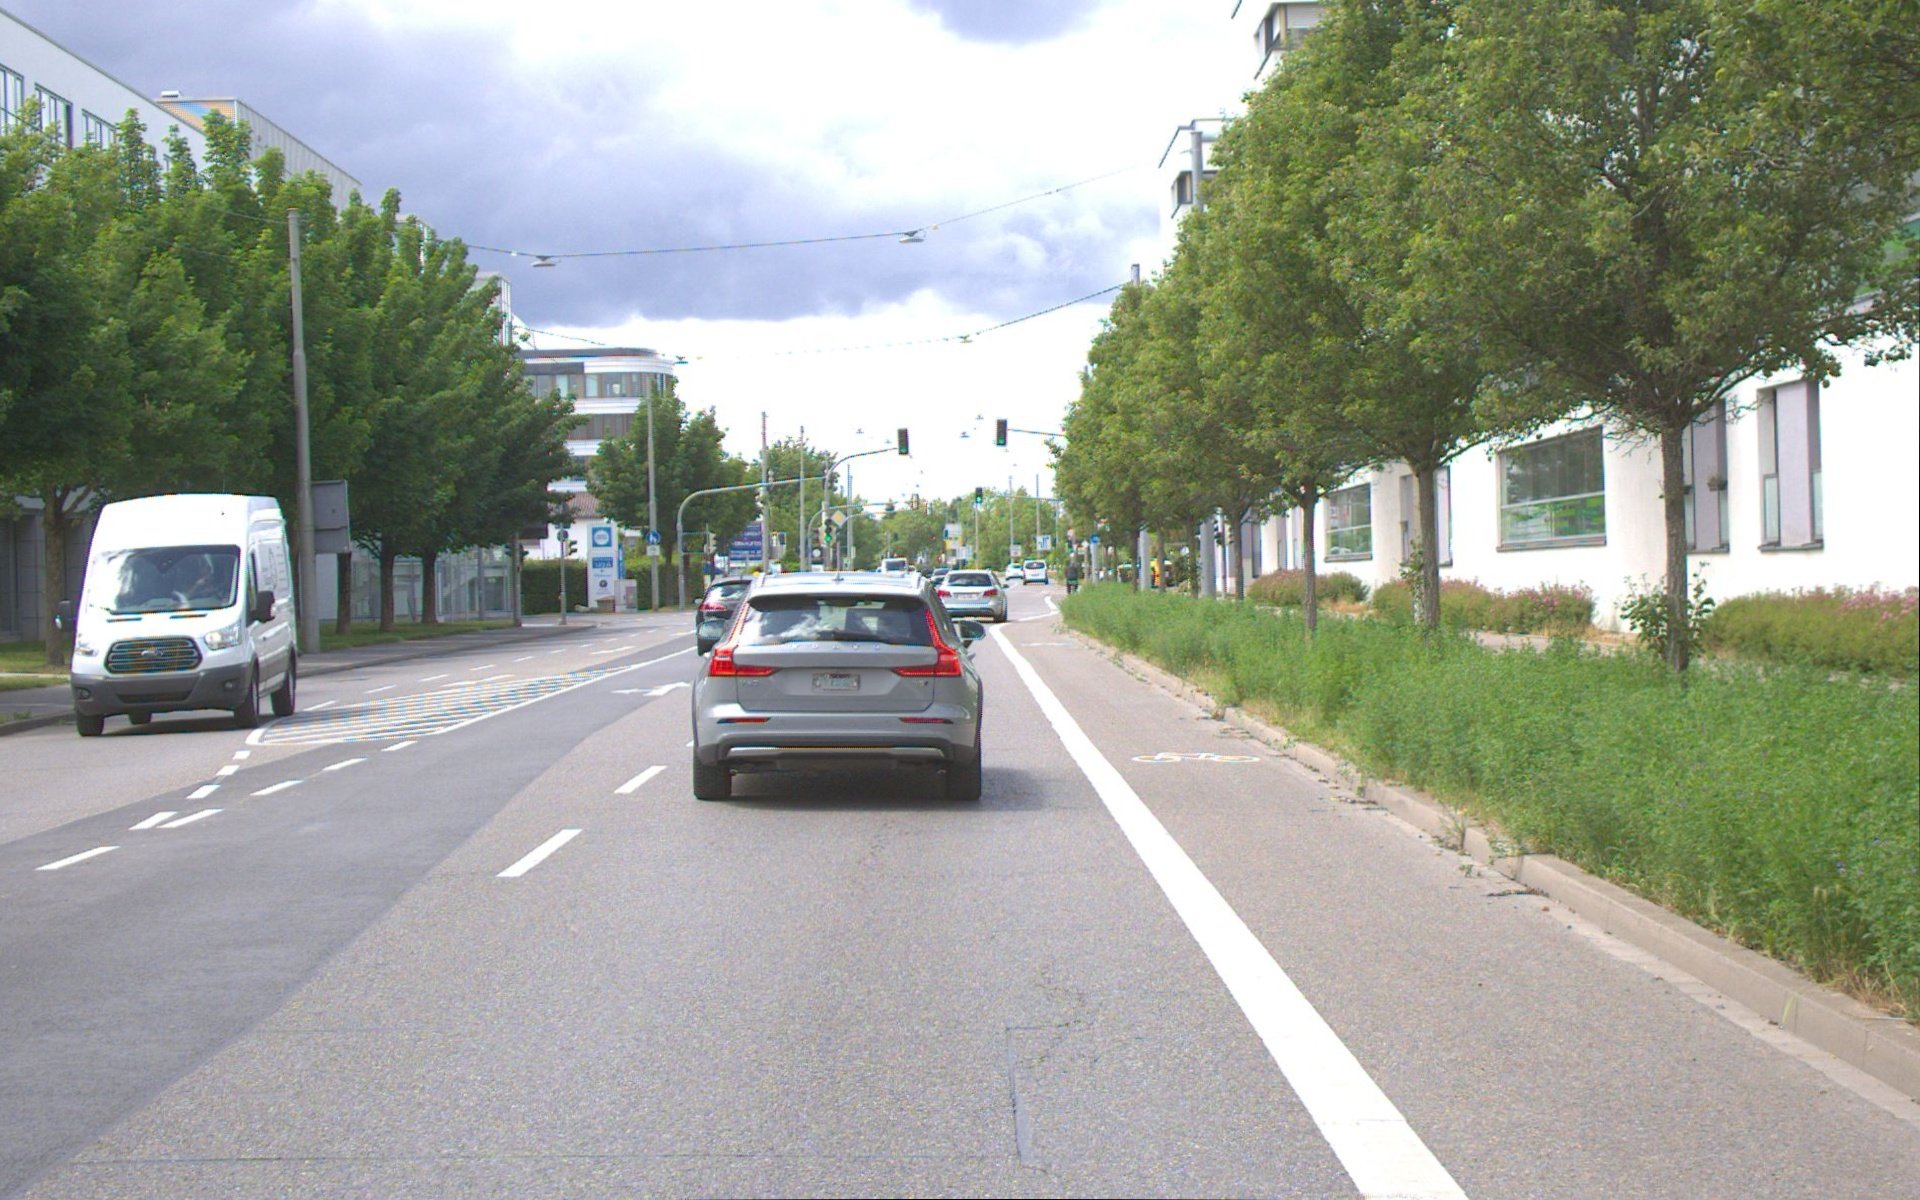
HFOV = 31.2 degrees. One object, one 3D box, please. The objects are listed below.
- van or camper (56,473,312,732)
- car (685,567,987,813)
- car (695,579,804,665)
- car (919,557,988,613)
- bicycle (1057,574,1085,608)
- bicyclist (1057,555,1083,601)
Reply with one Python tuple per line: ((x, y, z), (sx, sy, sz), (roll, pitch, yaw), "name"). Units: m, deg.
((-9.001, 0.002, 40.394), (1.993, 2.724, 6.053), (-2, 1, -5), "van or camper")
((-0.836, 0.533, 23.140), (1.854, 1.508, 4.000), (0, 1, -2), "car")
((-3.910, 0.383, 64.381), (1.854, 1.508, 4.000), (-1, 1, -1), "car")
((-0.205, -0.426, 96.105), (1.845, 1.508, 4.000), (-1, 1, -1), "car")
((4.992, -0.417, 154.544), (1.067, 1.448, 2.977), (-3, 1, -1), "bicycle")
((4.951, -0.976, 154.464), (1.014, 2.007, 1.131), (-3, 0, -1), "bicyclist")
